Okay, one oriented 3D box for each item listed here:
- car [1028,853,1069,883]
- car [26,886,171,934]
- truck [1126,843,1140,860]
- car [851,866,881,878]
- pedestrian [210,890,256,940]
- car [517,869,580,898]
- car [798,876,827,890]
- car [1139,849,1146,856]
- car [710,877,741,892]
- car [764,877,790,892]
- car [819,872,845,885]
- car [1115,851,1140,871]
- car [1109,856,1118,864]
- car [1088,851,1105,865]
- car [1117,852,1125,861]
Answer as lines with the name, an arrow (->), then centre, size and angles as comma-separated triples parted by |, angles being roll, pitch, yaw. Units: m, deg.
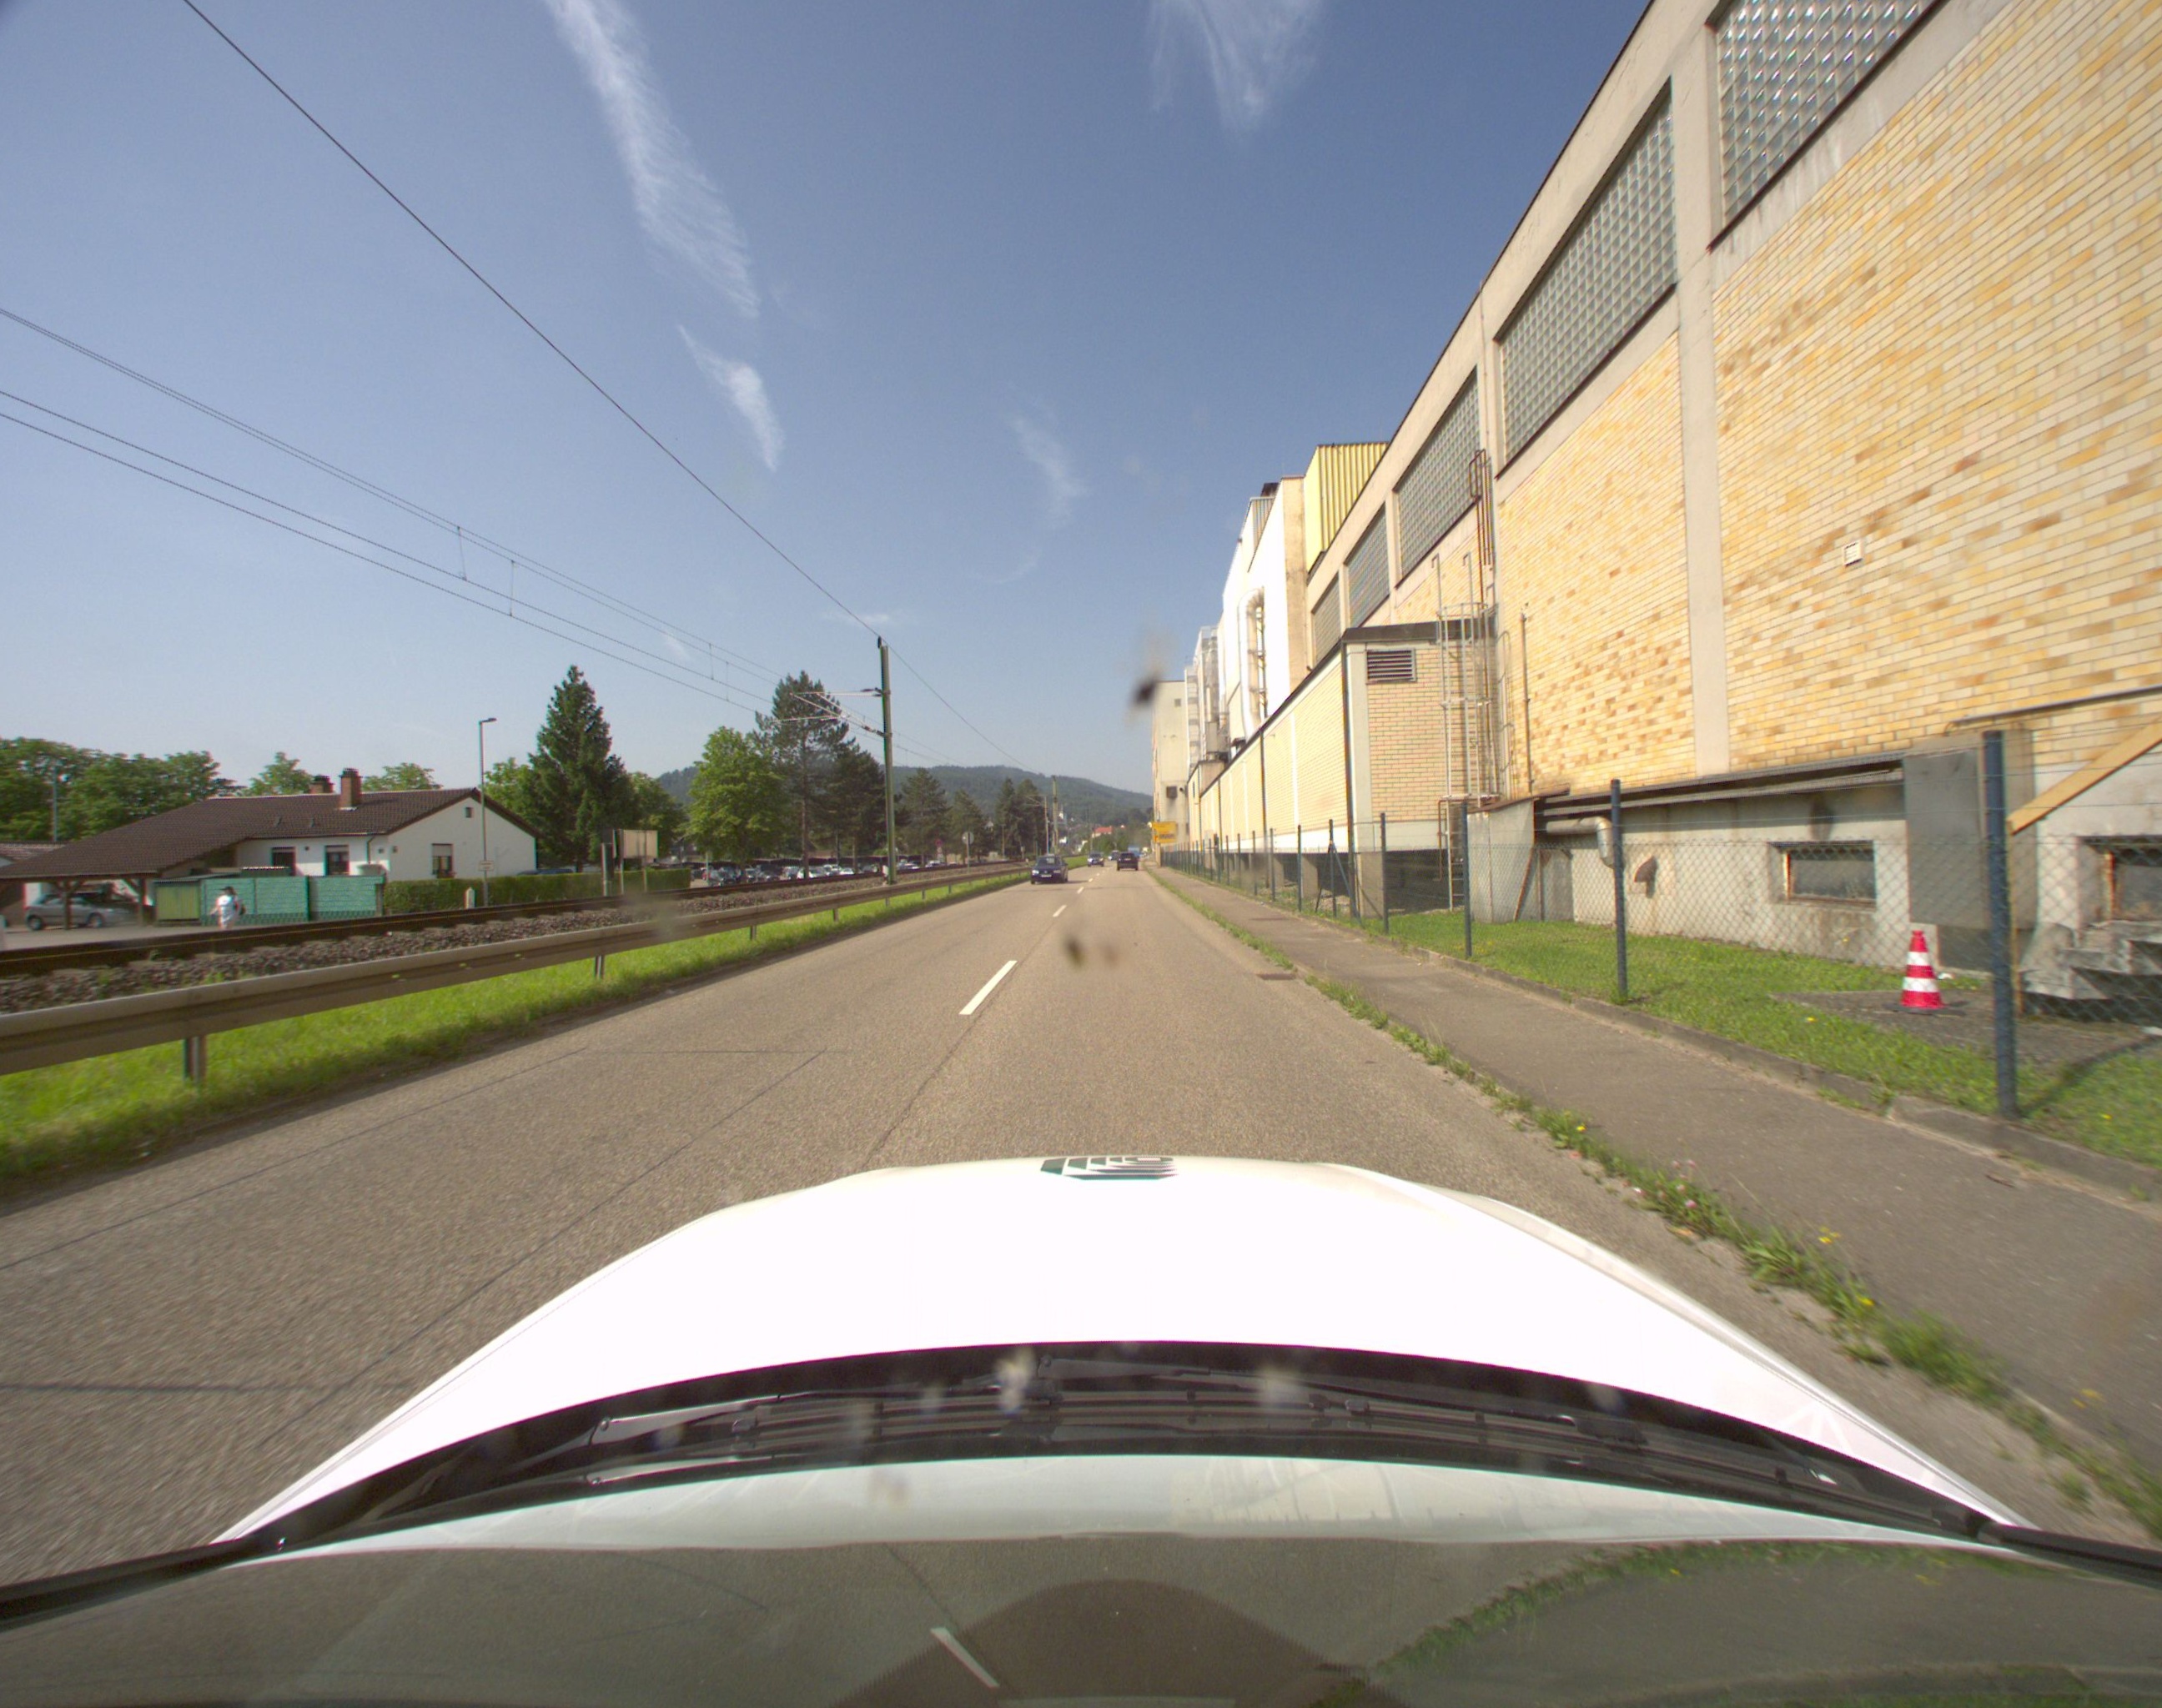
car -> -1.656, 0.703, 42.541 | 1.757, 1.403, 4.122 | -2, 0, 2
car -> -39.889, 2.244, 33.115 | 3.821, 1.651, 1.714 | -3, 0, 2
truck -> 9.736, -0.508, 152.038 | 2.303, 2.970, 5.969 | -2, 0, 2
car -> -28.748, 2.395, 108.792 | 3.541, 1.357, 1.501 | -2, 0, -42
pedestrian -> -24.001, 1.722, 23.057 | 0.572, 1.332, 0.673 | -2, 0, -5
car -> -28.261, 1.546, 43.286 | 1.386, 1.352, 2.894 | -3, 0, -1
car -> -29.683, 3.232, 90.083 | 1.697, 1.443, 3.807 | -2, 0, -40
car -> 16.747, -0.510, 222.432 | 1.659, 1.823, 3.757 | -2, 0, 5
car -> -38.441, 3.301, 87.975 | 3.804, 1.406, 1.698 | -3, 0, 45
car -> -36.011, 3.587, 96.395 | 1.697, 1.642, 3.807 | -2, 0, -40
car -> -31.107, 3.011, 101.581 | 1.697, 1.506, 3.807 | -2, 0, -40
car -> 4.099, 0.609, 71.618 | 1.910, 1.640, 4.007 | -2, 0, 6
car -> 6.489, 1.119, 161.344 | 1.760, 1.405, 4.300 | -3, 0, 3
car -> 1.870, 0.457, 97.793 | 1.898, 1.600, 4.574 | -2, -1, 3
car -> 9.798, 0.601, 199.660 | 1.750, 2.078, 4.815 | -1, 0, 5
